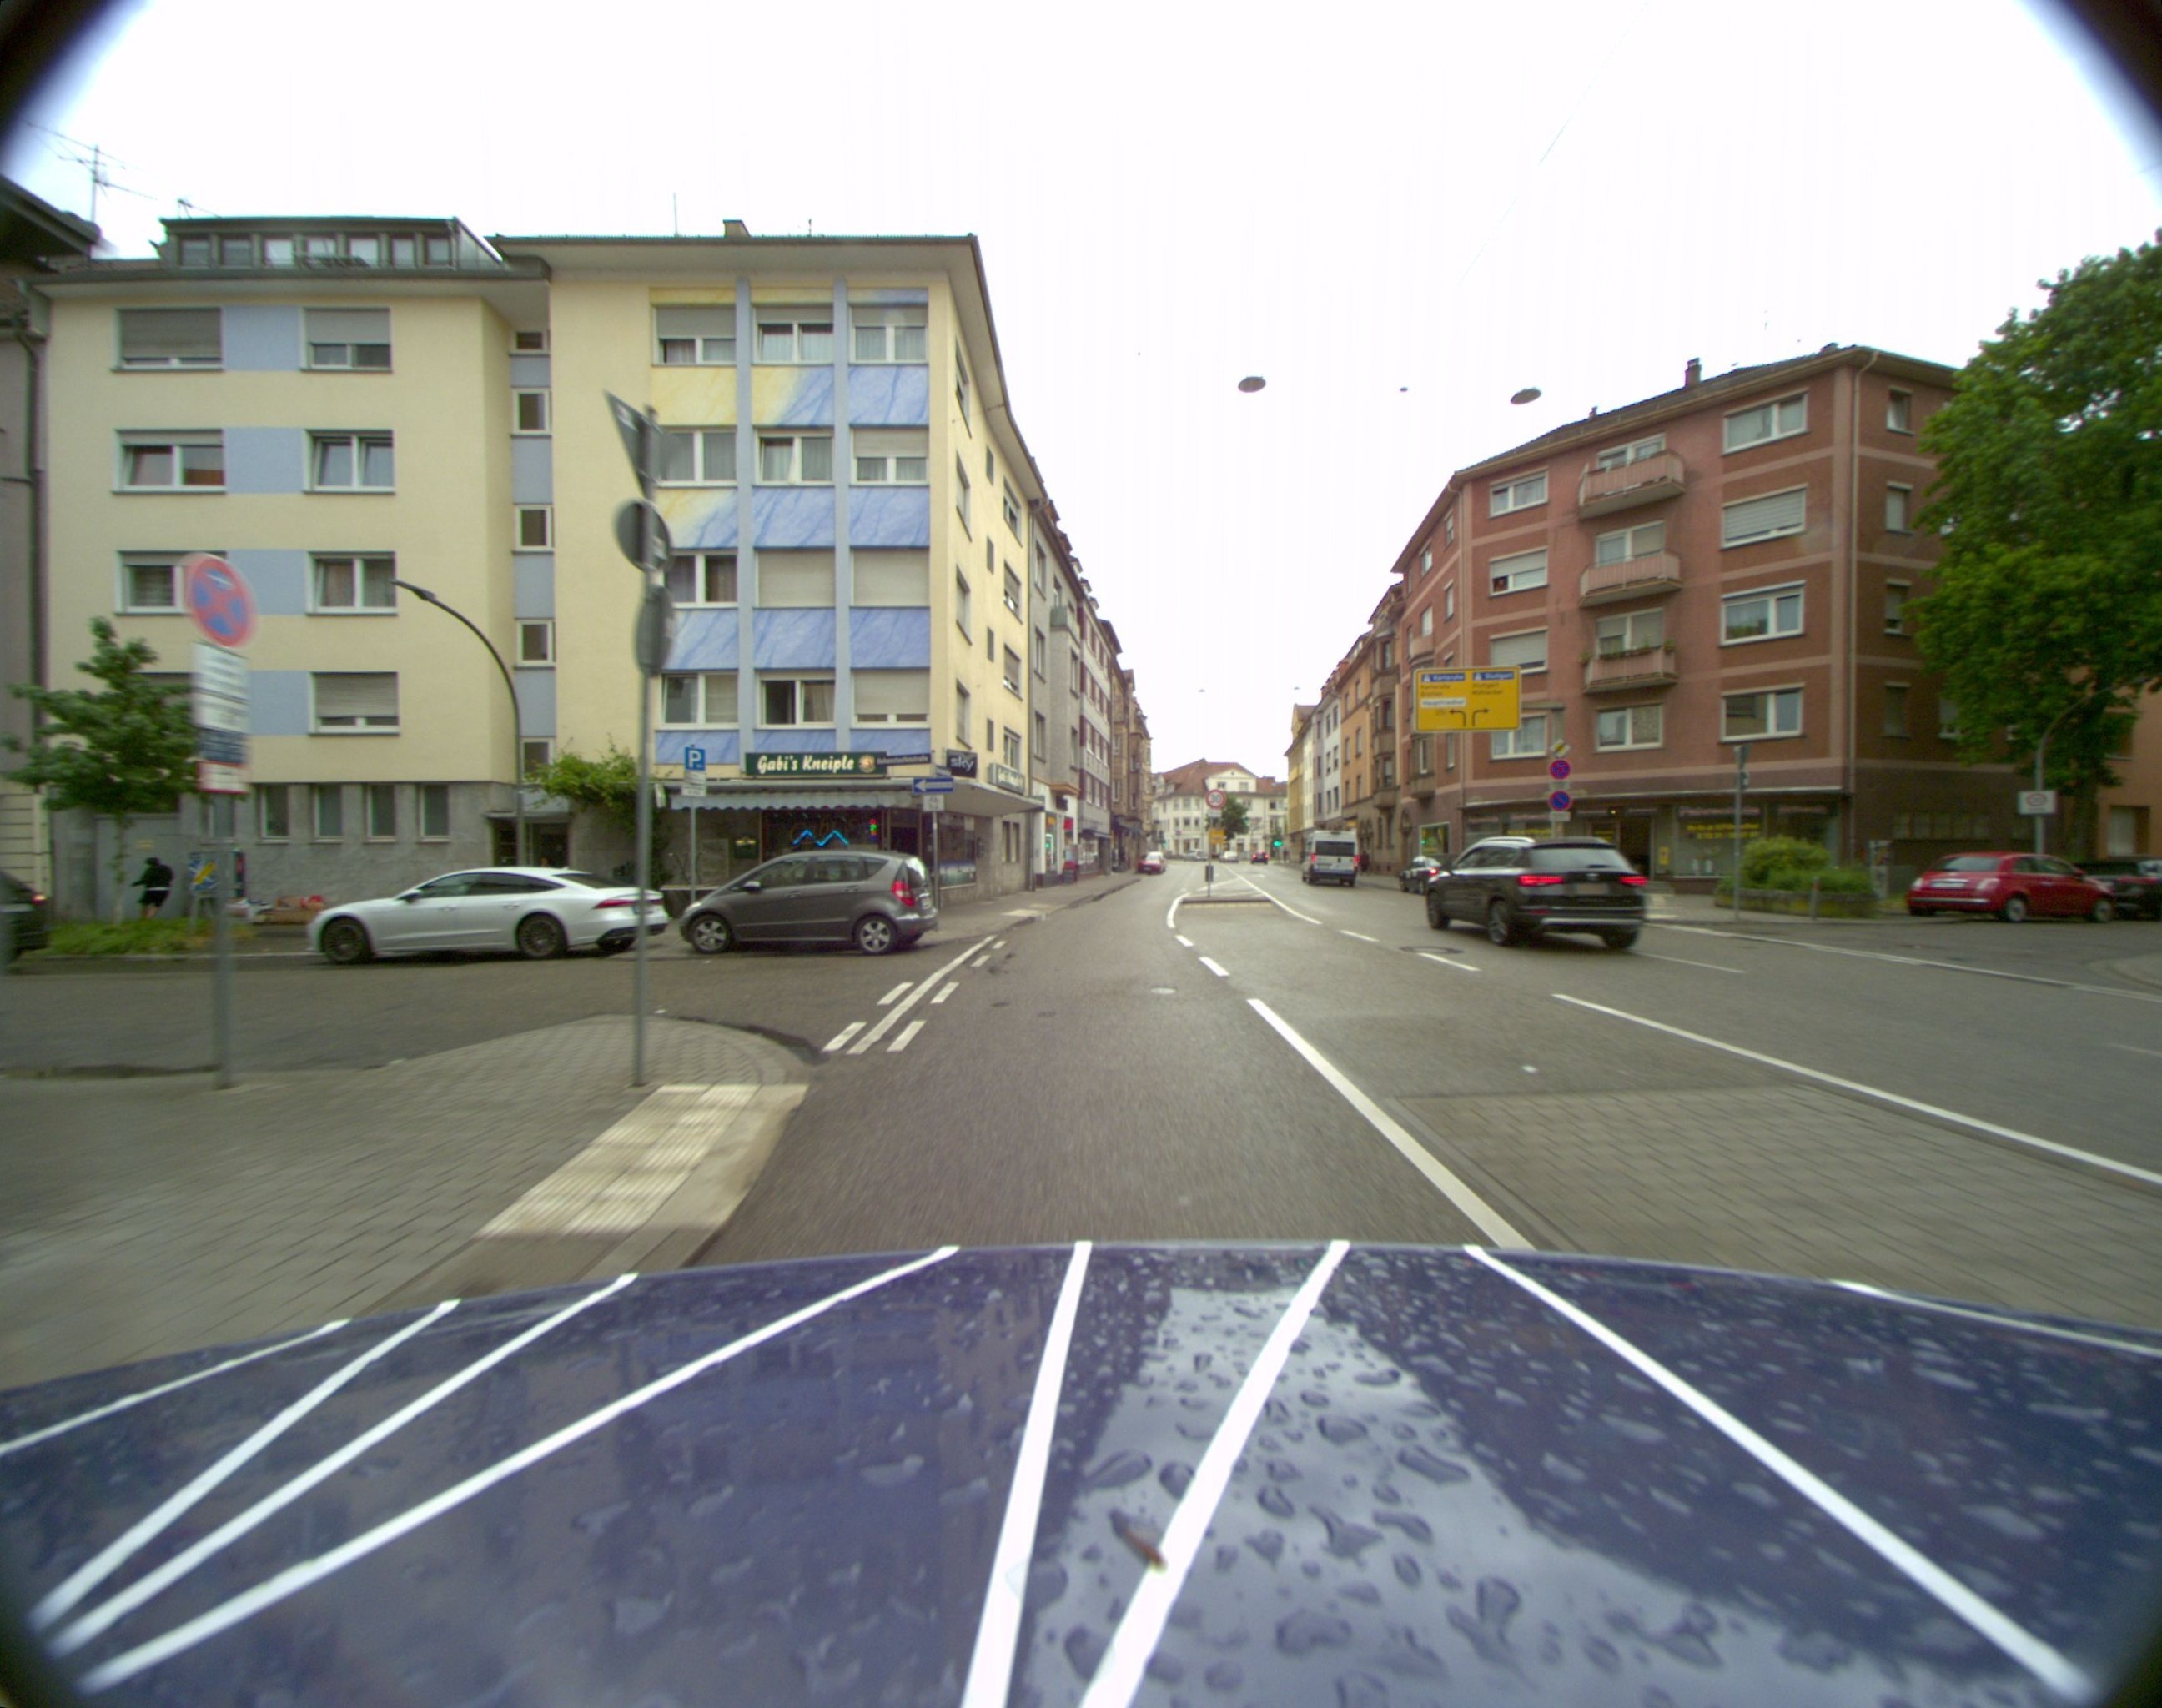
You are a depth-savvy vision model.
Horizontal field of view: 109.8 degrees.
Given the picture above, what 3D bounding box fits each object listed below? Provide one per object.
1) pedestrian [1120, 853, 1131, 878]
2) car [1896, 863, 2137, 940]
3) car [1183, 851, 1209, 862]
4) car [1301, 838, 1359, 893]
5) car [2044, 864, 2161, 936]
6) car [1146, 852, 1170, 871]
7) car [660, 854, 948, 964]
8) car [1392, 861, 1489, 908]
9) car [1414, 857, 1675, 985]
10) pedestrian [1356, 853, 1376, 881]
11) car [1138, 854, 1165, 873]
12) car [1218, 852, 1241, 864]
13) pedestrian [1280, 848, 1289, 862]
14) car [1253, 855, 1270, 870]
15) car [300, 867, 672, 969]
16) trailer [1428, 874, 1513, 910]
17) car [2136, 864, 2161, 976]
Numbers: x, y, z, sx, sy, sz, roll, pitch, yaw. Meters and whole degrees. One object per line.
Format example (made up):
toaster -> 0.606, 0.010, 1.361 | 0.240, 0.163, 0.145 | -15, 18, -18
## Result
pedestrian -> 3.226, 0.851, 55.461 | 0.745, 1.769, 0.796 | 0, 1, 7
car -> 20.020, 0.966, 16.337 | 3.527, 1.474, 1.692 | 0, 1, -8
car -> 16.105, 0.337, 106.392 | 1.950, 1.574, 4.514 | -1, 1, -15
car -> 11.856, 0.474, 36.613 | 2.089, 2.421, 6.358 | 0, 1, 13
car -> 24.536, 0.990, 17.258 | 3.526, 1.474, 1.692 | 0, 1, -7
car -> 6.389, 0.617, 62.939 | 1.650, 1.485, 4.451 | 0, 1, 10
car -> -4.265, 0.807, 12.119 | 3.833, 1.565, 1.937 | 0, 1, 6
car -> 13.054, 1.052, 27.930 | 1.853, 1.389, 4.795 | -3, 0, 9
car -> 6.975, 0.878, 12.069 | 1.747, 1.652, 4.419 | 0, 0, 5
pedestrian -> 17.601, 0.771, 46.964 | 0.845, 1.669, 0.853 | -3, 1, -3
car -> 5.177, 0.671, 55.453 | 1.747, 1.361, 4.318 | 0, 0, 9
car -> 18.630, 0.491, 95.700 | 1.948, 1.462, 4.558 | 0, 1, 0
pedestrian -> 25.907, 0.103, 96.638 | 0.895, 1.760, 1.033 | -4, 1, 7
car -> 21.327, 0.963, 89.917 | 1.757, 1.642, 4.310 | 0, 1, 11
car -> -9.166, 0.948, 11.966 | 4.489, 1.434, 1.787 | 0, 1, 2
trailer -> 12.228, 1.172, 24.015 | 1.590, 0.944, 3.058 | -1, 0, 11
car -> 17.217, 0.897, 10.212 | 4.645, 1.524, 1.903 | 0, 1, -13
